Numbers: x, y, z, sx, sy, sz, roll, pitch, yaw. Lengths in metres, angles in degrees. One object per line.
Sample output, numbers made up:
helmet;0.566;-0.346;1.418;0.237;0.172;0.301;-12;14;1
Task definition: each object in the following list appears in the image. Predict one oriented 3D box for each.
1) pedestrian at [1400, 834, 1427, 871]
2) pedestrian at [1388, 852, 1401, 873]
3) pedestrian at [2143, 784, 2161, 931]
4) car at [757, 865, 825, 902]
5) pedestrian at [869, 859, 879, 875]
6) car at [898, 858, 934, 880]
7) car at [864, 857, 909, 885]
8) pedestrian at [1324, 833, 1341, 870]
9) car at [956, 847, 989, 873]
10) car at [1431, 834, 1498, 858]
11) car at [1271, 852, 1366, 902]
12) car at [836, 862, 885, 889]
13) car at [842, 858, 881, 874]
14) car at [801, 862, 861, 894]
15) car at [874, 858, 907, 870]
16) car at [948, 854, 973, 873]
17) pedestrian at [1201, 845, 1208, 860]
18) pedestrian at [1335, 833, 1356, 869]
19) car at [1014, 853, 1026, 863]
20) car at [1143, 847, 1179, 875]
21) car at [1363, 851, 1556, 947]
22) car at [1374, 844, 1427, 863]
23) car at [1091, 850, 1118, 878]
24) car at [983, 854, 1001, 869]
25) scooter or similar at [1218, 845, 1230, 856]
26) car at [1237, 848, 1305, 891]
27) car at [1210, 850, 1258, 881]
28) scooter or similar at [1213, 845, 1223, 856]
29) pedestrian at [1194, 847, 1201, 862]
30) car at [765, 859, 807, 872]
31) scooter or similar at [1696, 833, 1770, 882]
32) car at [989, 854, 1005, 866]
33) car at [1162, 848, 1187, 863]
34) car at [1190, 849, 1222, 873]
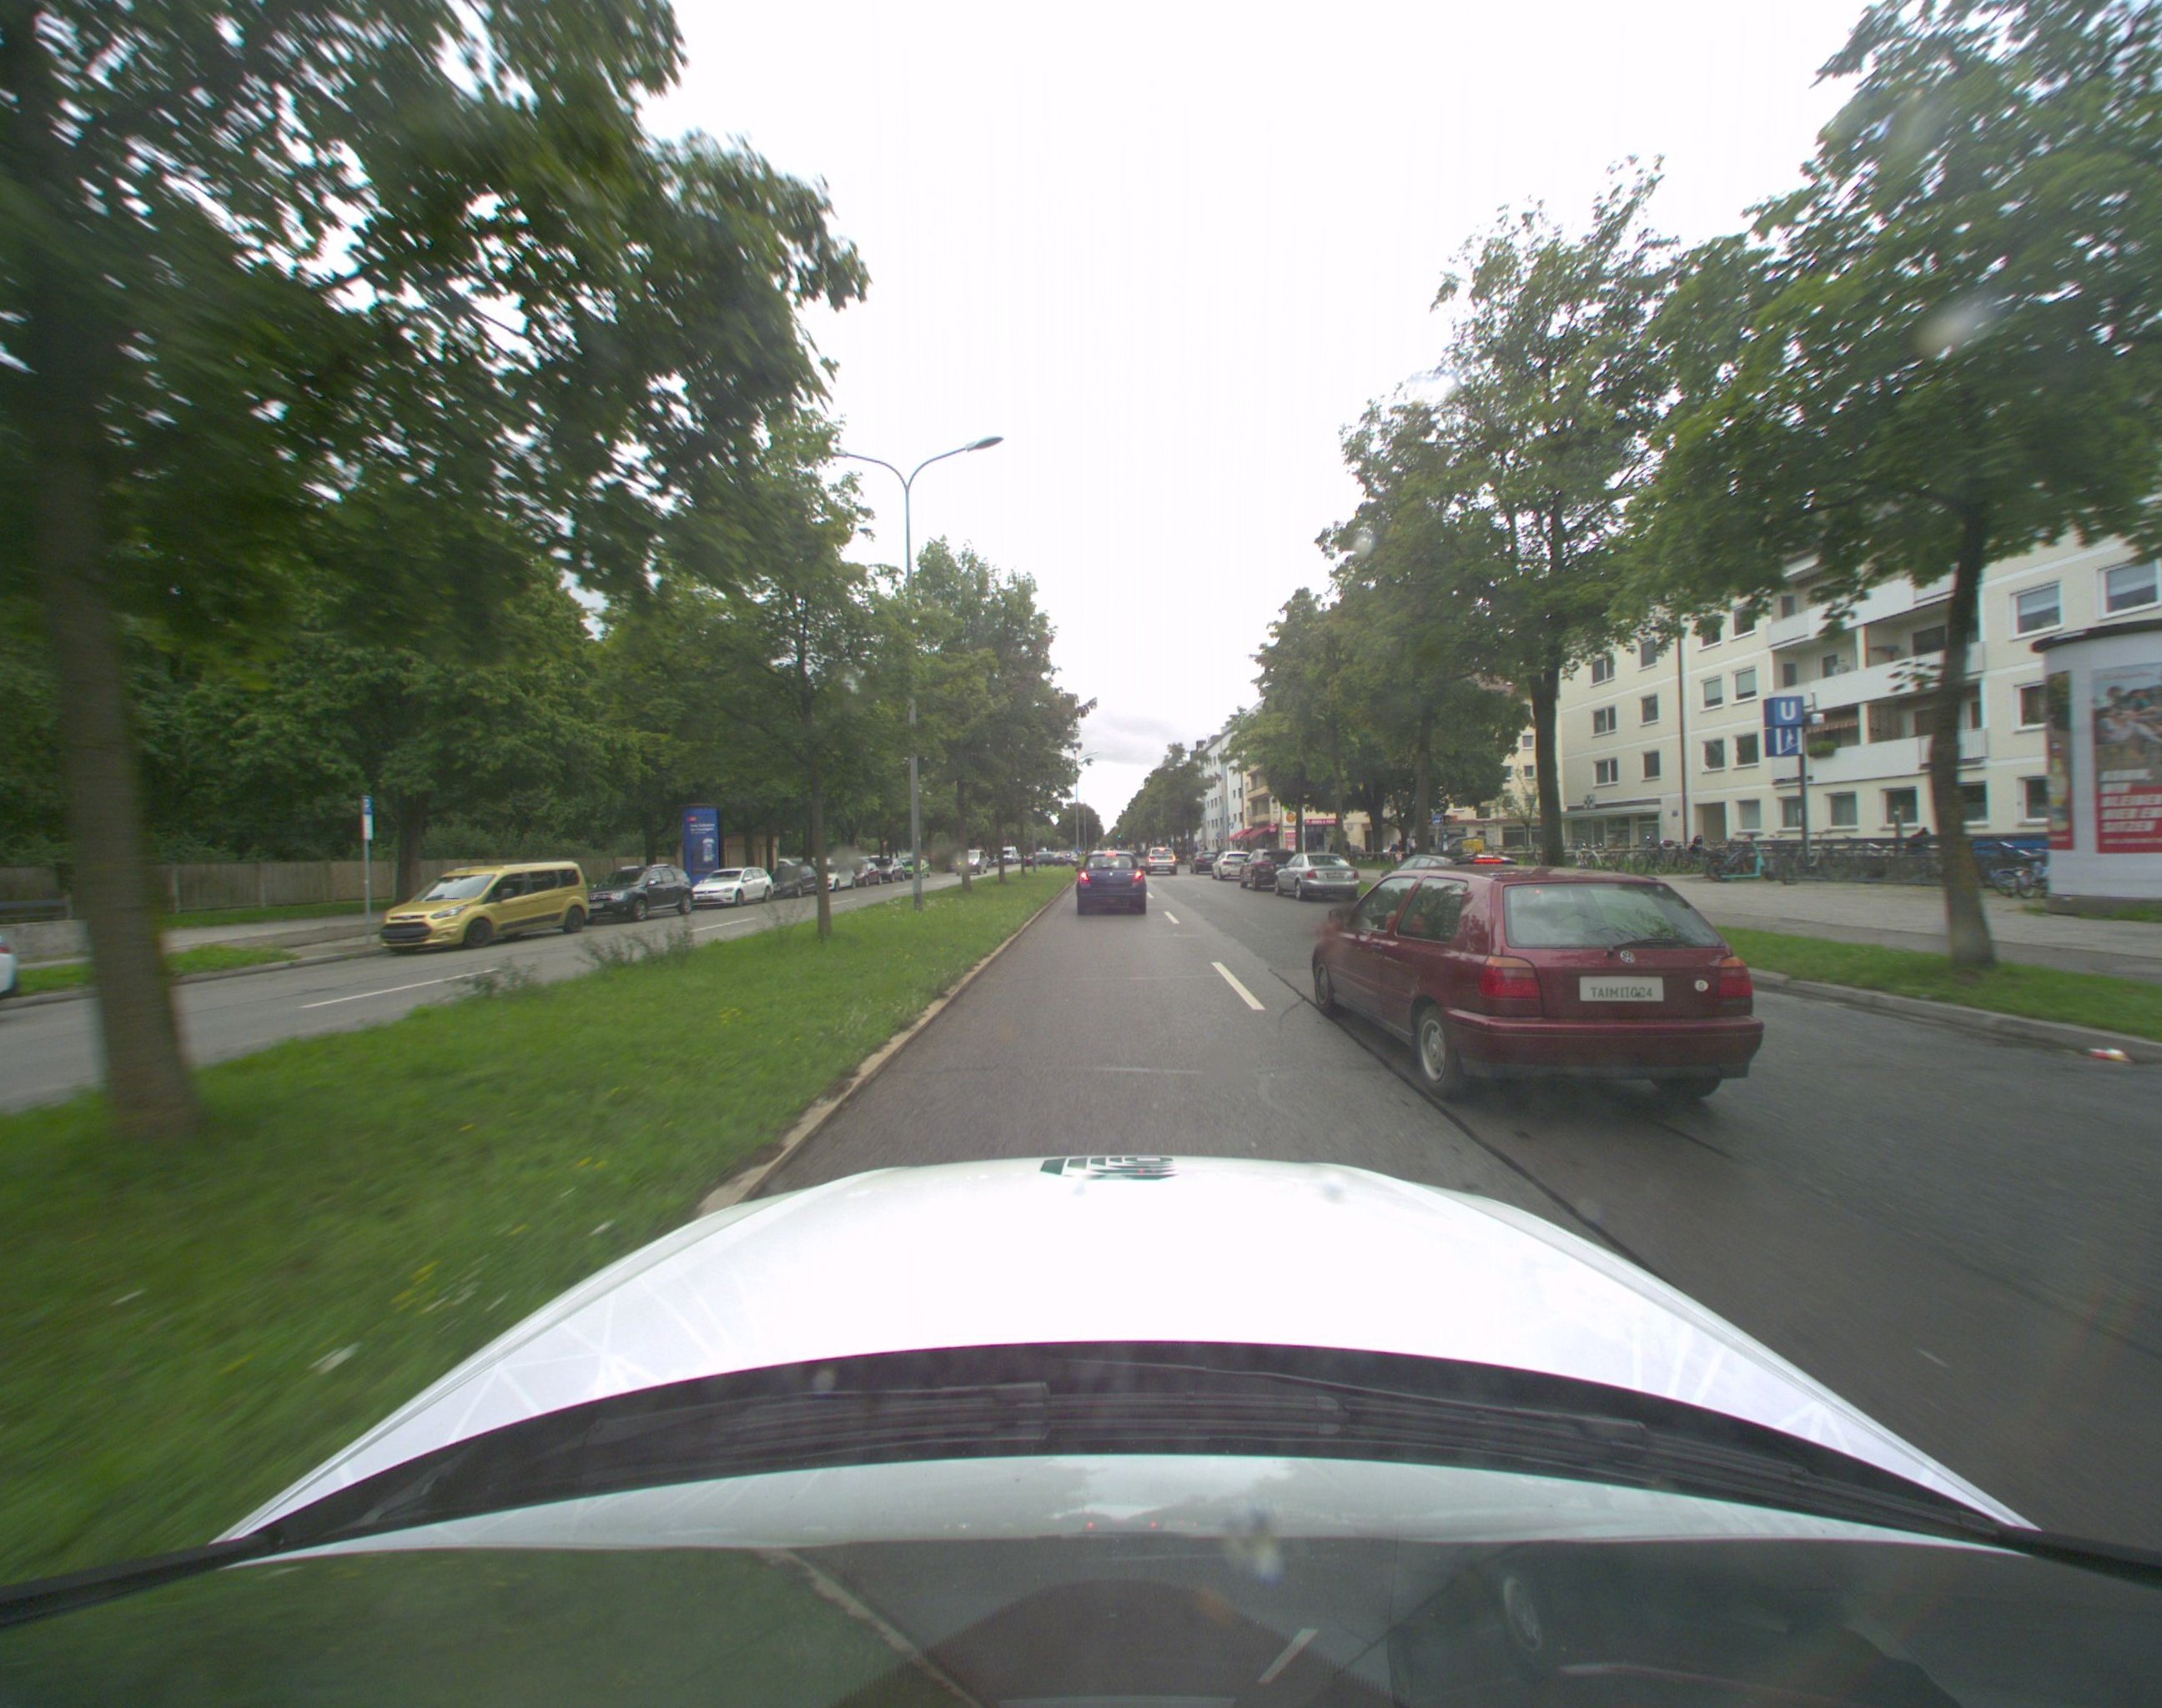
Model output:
pedestrian;15.512;-0.081;37.998;0.835;1.681;0.835;-2;0;0
pedestrian;14.790;0.393;38.370;0.406;0.949;0.435;-2;0;0
pedestrian;13.091;0.037;9.346;0.636;1.749;0.851;-3;0;8
car;-12.985;1.294;36.698;1.608;1.417;3.897;-3;0;0
pedestrian;-19.511;1.223;76.663;0.724;1.534;0.721;-1;0;2
car;-12.459;1.110;61.685;1.540;1.409;3.884;-3;0;4
car;-12.717;1.085;53.476;1.685;1.586;4.372;-3;0;1
pedestrian;13.372;-0.125;43.294;0.586;1.889;0.902;-2;0;1
car;-8.540;0.446;64.520;1.793;1.933;4.995;-3;0;1
car;32.221;-0.686;68.520;4.719;1.773;1.871;-2;0;0
car;7.183;0.634;25.073;1.631;1.386;4.242;0;0;-1
car;-12.865;1.229;47.688;1.584;1.397;3.634;-3;0;3
car;-24.651;1.302;91.477;3.911;1.718;1.670;-1;0;-4
car;-13.009;1.211;42.628;1.601;1.444;4.281;-3;0;2
car;-24.358;1.304;104.161;3.858;1.445;1.670;-1;0;-4
car;-11.689;0.909;79.099;1.710;1.741;3.880;-1;0;1
pedestrian;16.315;-0.215;107.877;0.791;2.013;1.007;-2;0;2
pedestrian;14.056;-0.162;43.248;0.727;1.889;0.919;-2;0;0
car;-9.978;0.668;134.104;1.627;1.583;3.880;-1;0;1
car;4.923;0.403;50.600;1.859;1.661;4.408;0;0;1
car;6.588;0.687;14.714;1.743;1.465;4.179;0;0;3
car;25.732;-0.048;65.609;3.534;1.417;1.873;-2;0;2
car;1.272;0.528;44.863;1.439;1.483;3.107;-1;0;1
car;-11.012;0.918;101.084;1.627;1.741;3.880;-1;0;1
scooter or similar;18.226;-0.419;103.883;1.028;1.307;2.757;-2;0;3
car;7.156;0.529;31.040;1.710;1.533;4.277;0;0;2
car;7.673;0.525;41.159;1.676;1.465;4.138;1;0;1
scooter or similar;18.299;-0.462;108.696;1.028;1.307;2.757;-2;0;3
pedestrian;15.482;0.052;107.927;0.791;2.013;1.007;-2;0;2
car;-36.333;1.391;100.286;4.488;1.476;1.673;-1;-1;2
scooter or similar;16.518;0.098;20.641;0.360;1.200;1.374;-2;0;-41
car;-10.936;0.774;106.422;1.627;1.431;3.880;-1;0;1
car;9.429;0.162;82.249;1.860;1.417;4.222;-2;0;-1
car;7.910;0.423;51.740;1.611;1.465;3.675;0;0;2
